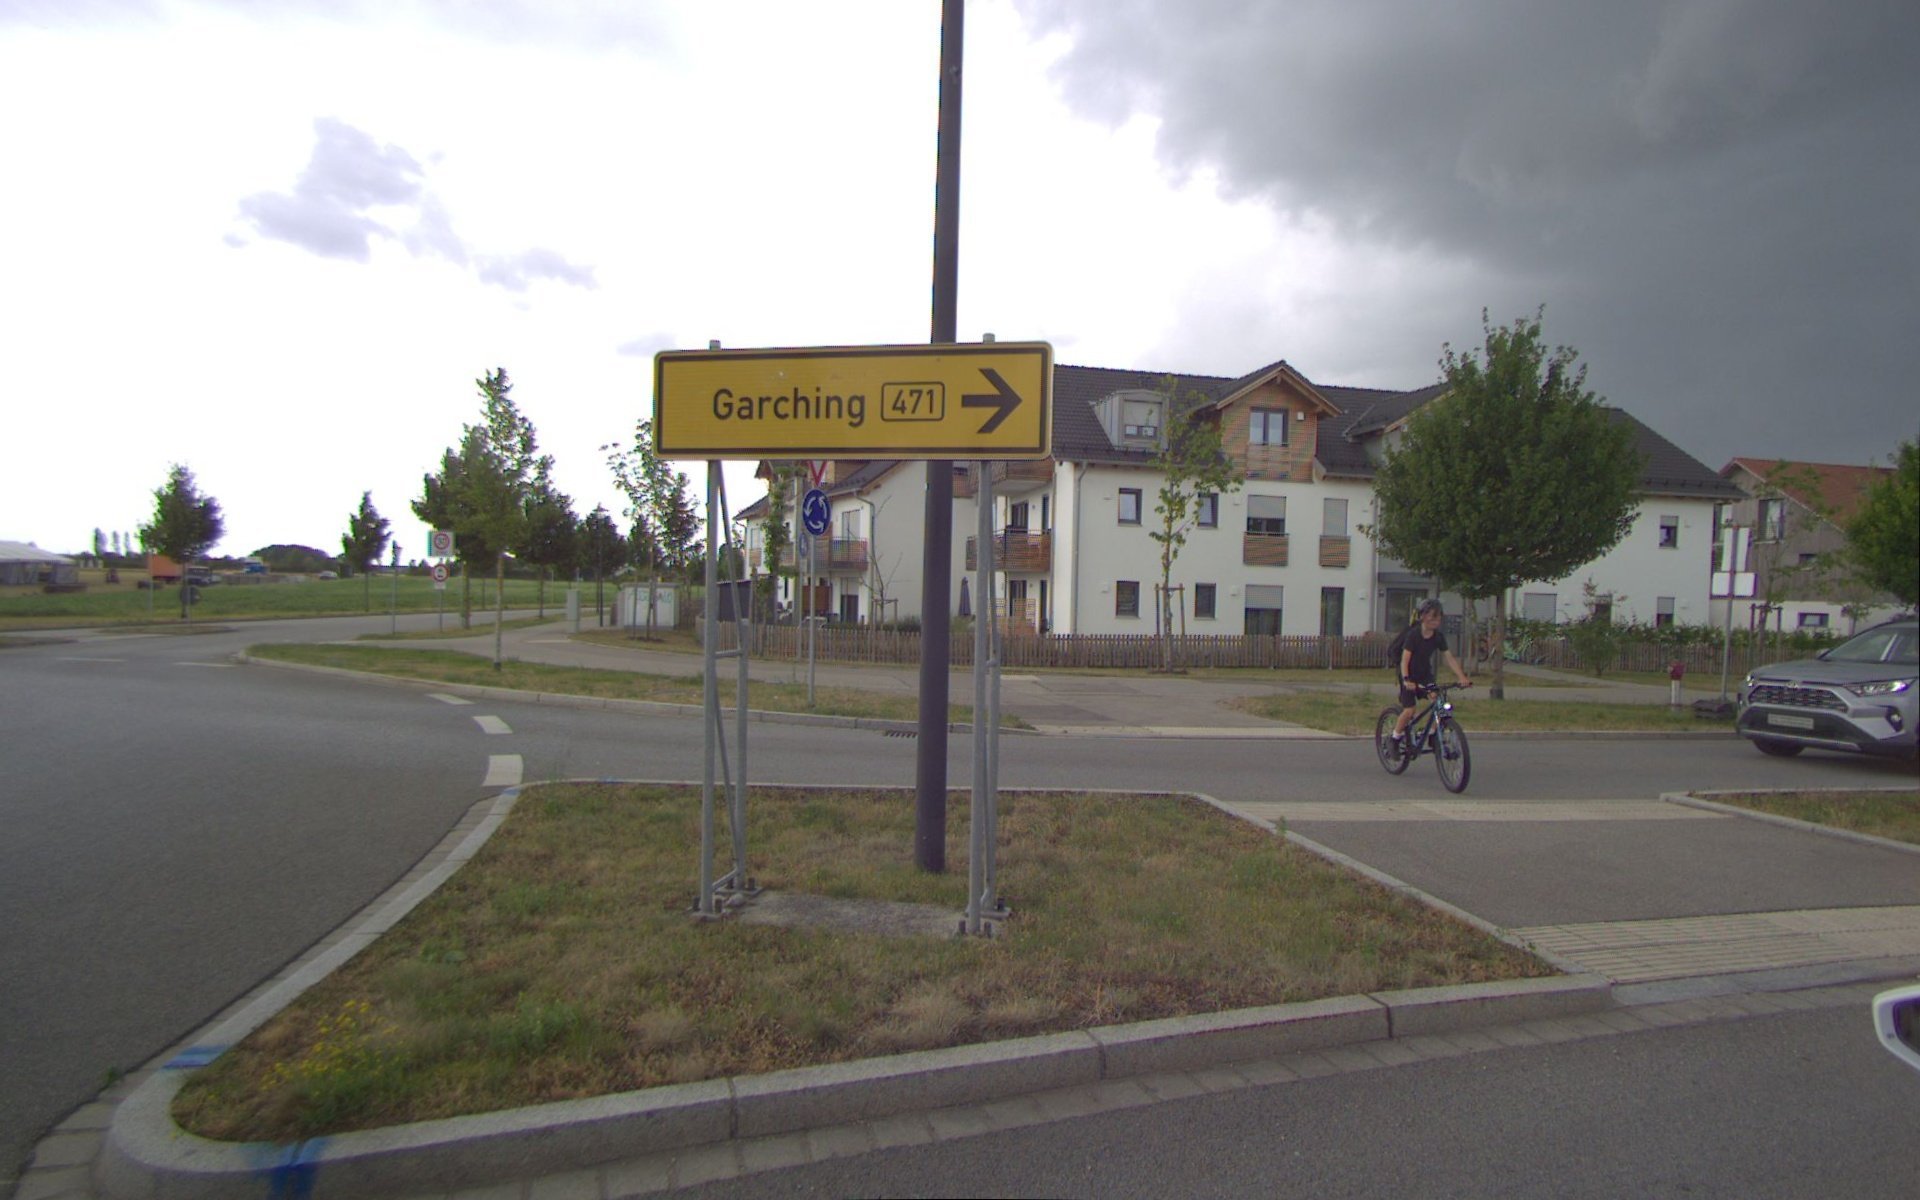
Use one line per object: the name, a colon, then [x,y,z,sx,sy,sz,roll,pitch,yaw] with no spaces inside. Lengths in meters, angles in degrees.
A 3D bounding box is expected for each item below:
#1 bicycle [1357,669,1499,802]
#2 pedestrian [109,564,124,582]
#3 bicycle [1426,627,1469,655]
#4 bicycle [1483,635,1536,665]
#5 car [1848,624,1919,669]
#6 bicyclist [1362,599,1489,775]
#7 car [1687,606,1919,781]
bicycle: [4.092,1.147,8.913,0.487,0.959,1.714,1,-1,1]
pedestrian: [-95.201,-3.029,113.345,1.037,2.041,1.054,1,1,-25]
bicycle: [16.479,1.386,33.964,1.314,0.854,0.367,2,3,-12]
bicycle: [17.050,1.563,31.166,1.520,0.854,0.367,2,3,-12]
car: [41.128,2.031,43.201,4.384,1.795,1.997,2,1,-9]
bicyclist: [4.094,0.740,8.898,0.710,1.466,0.869,1,0,1]
car: [11.037,1.005,11.434,4.555,1.726,1.995,2,-1,-13]
